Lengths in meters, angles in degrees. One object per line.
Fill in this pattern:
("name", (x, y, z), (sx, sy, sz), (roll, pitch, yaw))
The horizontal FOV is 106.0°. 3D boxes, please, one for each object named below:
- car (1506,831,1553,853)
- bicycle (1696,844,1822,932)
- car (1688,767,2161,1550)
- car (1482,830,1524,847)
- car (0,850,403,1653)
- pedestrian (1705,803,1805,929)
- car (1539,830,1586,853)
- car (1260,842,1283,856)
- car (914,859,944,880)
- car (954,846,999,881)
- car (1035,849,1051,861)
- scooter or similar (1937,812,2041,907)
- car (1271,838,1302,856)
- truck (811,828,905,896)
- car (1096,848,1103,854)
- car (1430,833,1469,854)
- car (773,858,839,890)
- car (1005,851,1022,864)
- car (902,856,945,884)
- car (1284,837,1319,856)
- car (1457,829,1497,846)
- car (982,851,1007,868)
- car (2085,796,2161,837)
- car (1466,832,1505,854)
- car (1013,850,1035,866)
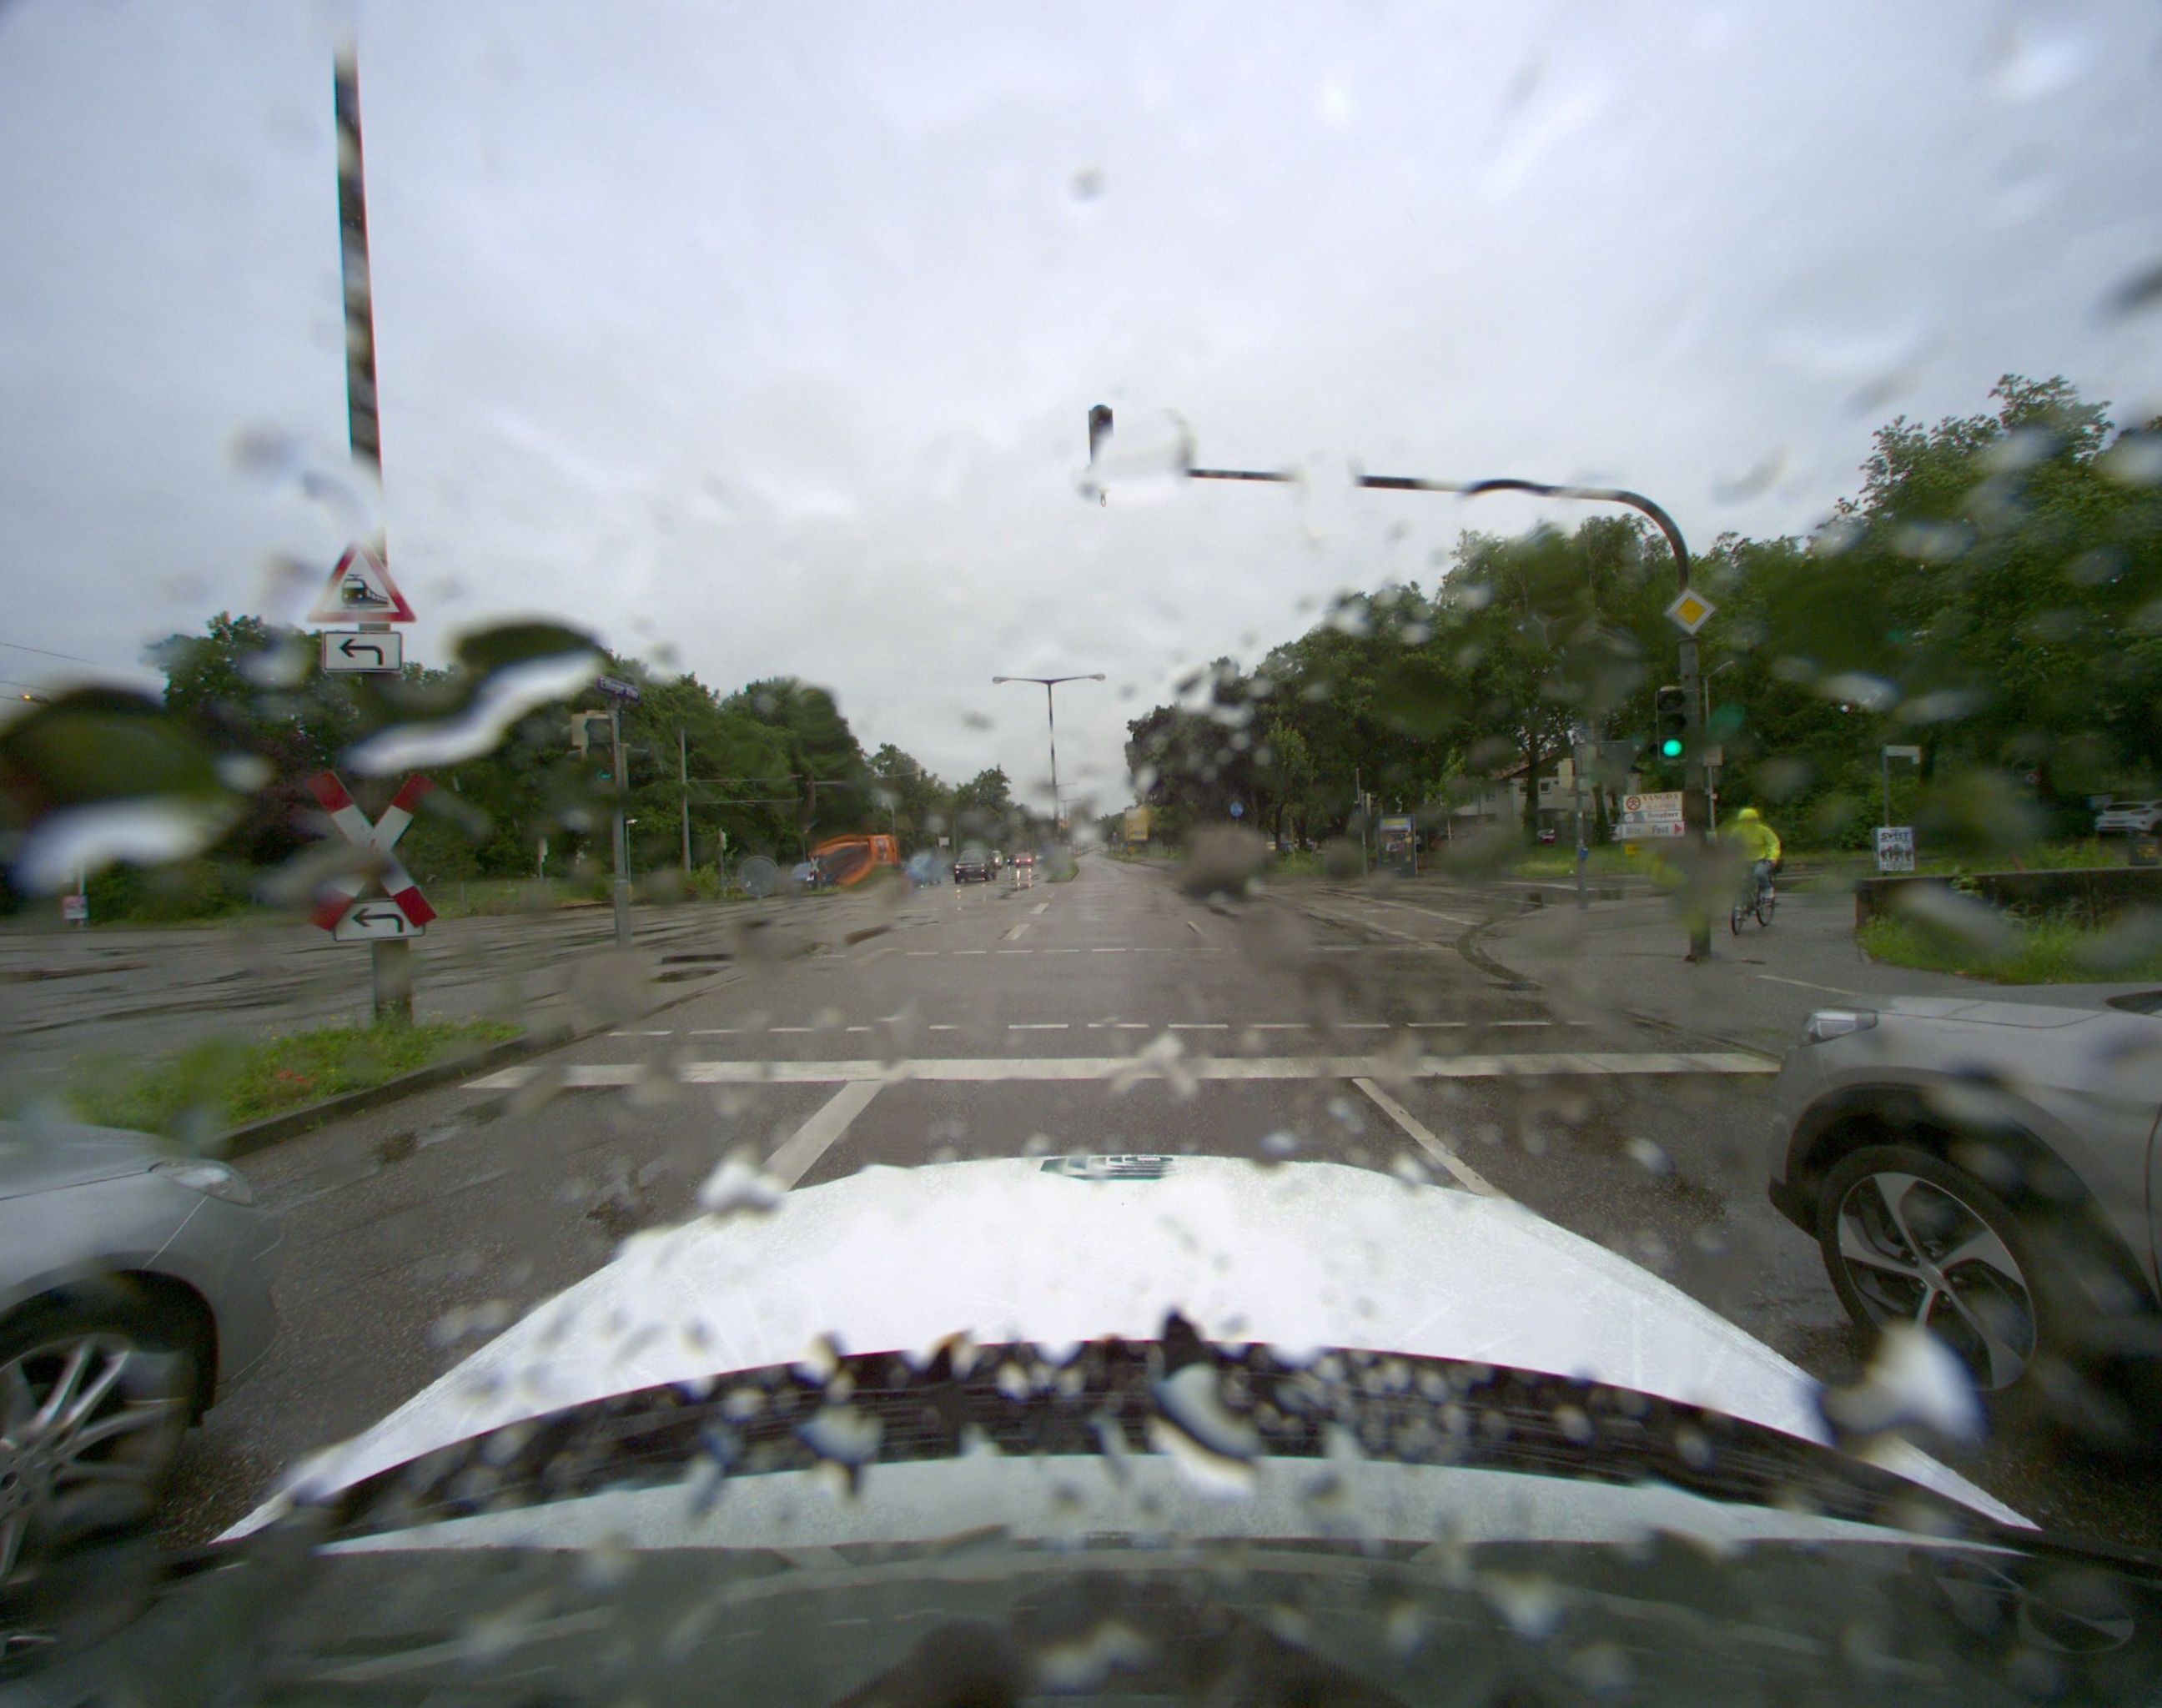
("car", (30.771, -0.791, 55.885), (3.772, 1.449, 1.650), (0, -1, -42))
("bicycle", (9.696, 0.475, 11.640), (1.670, 1.038, 0.782), (-6, 0, -30))
("car", (3.111, 0.600, 0.888), (1.877, 1.610, 4.198), (-1, -1, 3))
("car", (36.558, -1.330, 70.659), (1.579, 1.385, 3.998), (-1, 0, -1))
("car", (-2.996, 0.791, 0.468), (1.730, 1.544, 4.015), (-2, 0, 2))
("pedestrian", (9.572, 0.177, 11.582), (0.671, 1.678, 0.782), (-6, 0, -30))
("car", (32.133, -0.813, 54.336), (3.772, 1.449, 1.584), (0, -1, -42))
("car", (21.990, -0.574, 94.316), (1.632, 1.486, 4.071), (-1, 0, -1))
("car", (-14.100, 1.430, 75.786), (1.987, 1.827, 4.770), (-1, 0, -1))
("car", (-6.005, 0.506, 47.312), (1.799, 1.773, 5.090), (-4, 0, 1))
("car", (-5.385, 0.134, 116.084), (1.954, 1.617, 4.698), (-3, 0, 1))
("scooter or similar", (12.338, 0.071, 11.076), (0.952, 1.229, 0.322), (-2, 0, 6))
("car", (21.768, -0.740, 86.409), (1.988, 1.717, 4.639), (-3, 0, -1))
("truck", (-14.998, 0.532, 55.897), (3.373, 4.167, 10.408), (-1, 0, 1))
("car", (5.187, -0.777, 229.952), (1.900, 1.515, 4.002), (-2, 0, 2))
("car", (26.934, -0.735, 59.528), (1.648, 1.449, 3.776), (-1, 0, 40))
("car", (-15.380, 1.071, 45.842), (1.986, 1.709, 4.529), (-1, 0, 2))
("car", (-9.443, 0.445, 113.788), (1.700, 1.641, 4.332), (-4, 0, 2))
("car", (-8.932, 0.883, 46.420), (1.636, 1.427, 3.998), (-4, 0, -1))
("car", (21.861, -0.764, 80.955), (1.988, 1.717, 4.876), (-3, 0, -1))
("car", (34.179, -1.404, 70.400), (1.568, 1.316, 3.699), (-1, 0, -2))
("car", (-8.899, 0.521, 83.848), (1.887, 1.611, 4.502), (-2, 0, 2))
("car", (45.193, -1.555, 34.078), (4.582, 1.583, 1.921), (-1, 0, -8))
("car", (28.878, -0.762, 58.055), (1.648, 1.449, 3.776), (-1, 0, 40))
("car", (-5.982, 0.405, 85.934), (1.795, 1.569, 4.428), (-4, -1, 0))
